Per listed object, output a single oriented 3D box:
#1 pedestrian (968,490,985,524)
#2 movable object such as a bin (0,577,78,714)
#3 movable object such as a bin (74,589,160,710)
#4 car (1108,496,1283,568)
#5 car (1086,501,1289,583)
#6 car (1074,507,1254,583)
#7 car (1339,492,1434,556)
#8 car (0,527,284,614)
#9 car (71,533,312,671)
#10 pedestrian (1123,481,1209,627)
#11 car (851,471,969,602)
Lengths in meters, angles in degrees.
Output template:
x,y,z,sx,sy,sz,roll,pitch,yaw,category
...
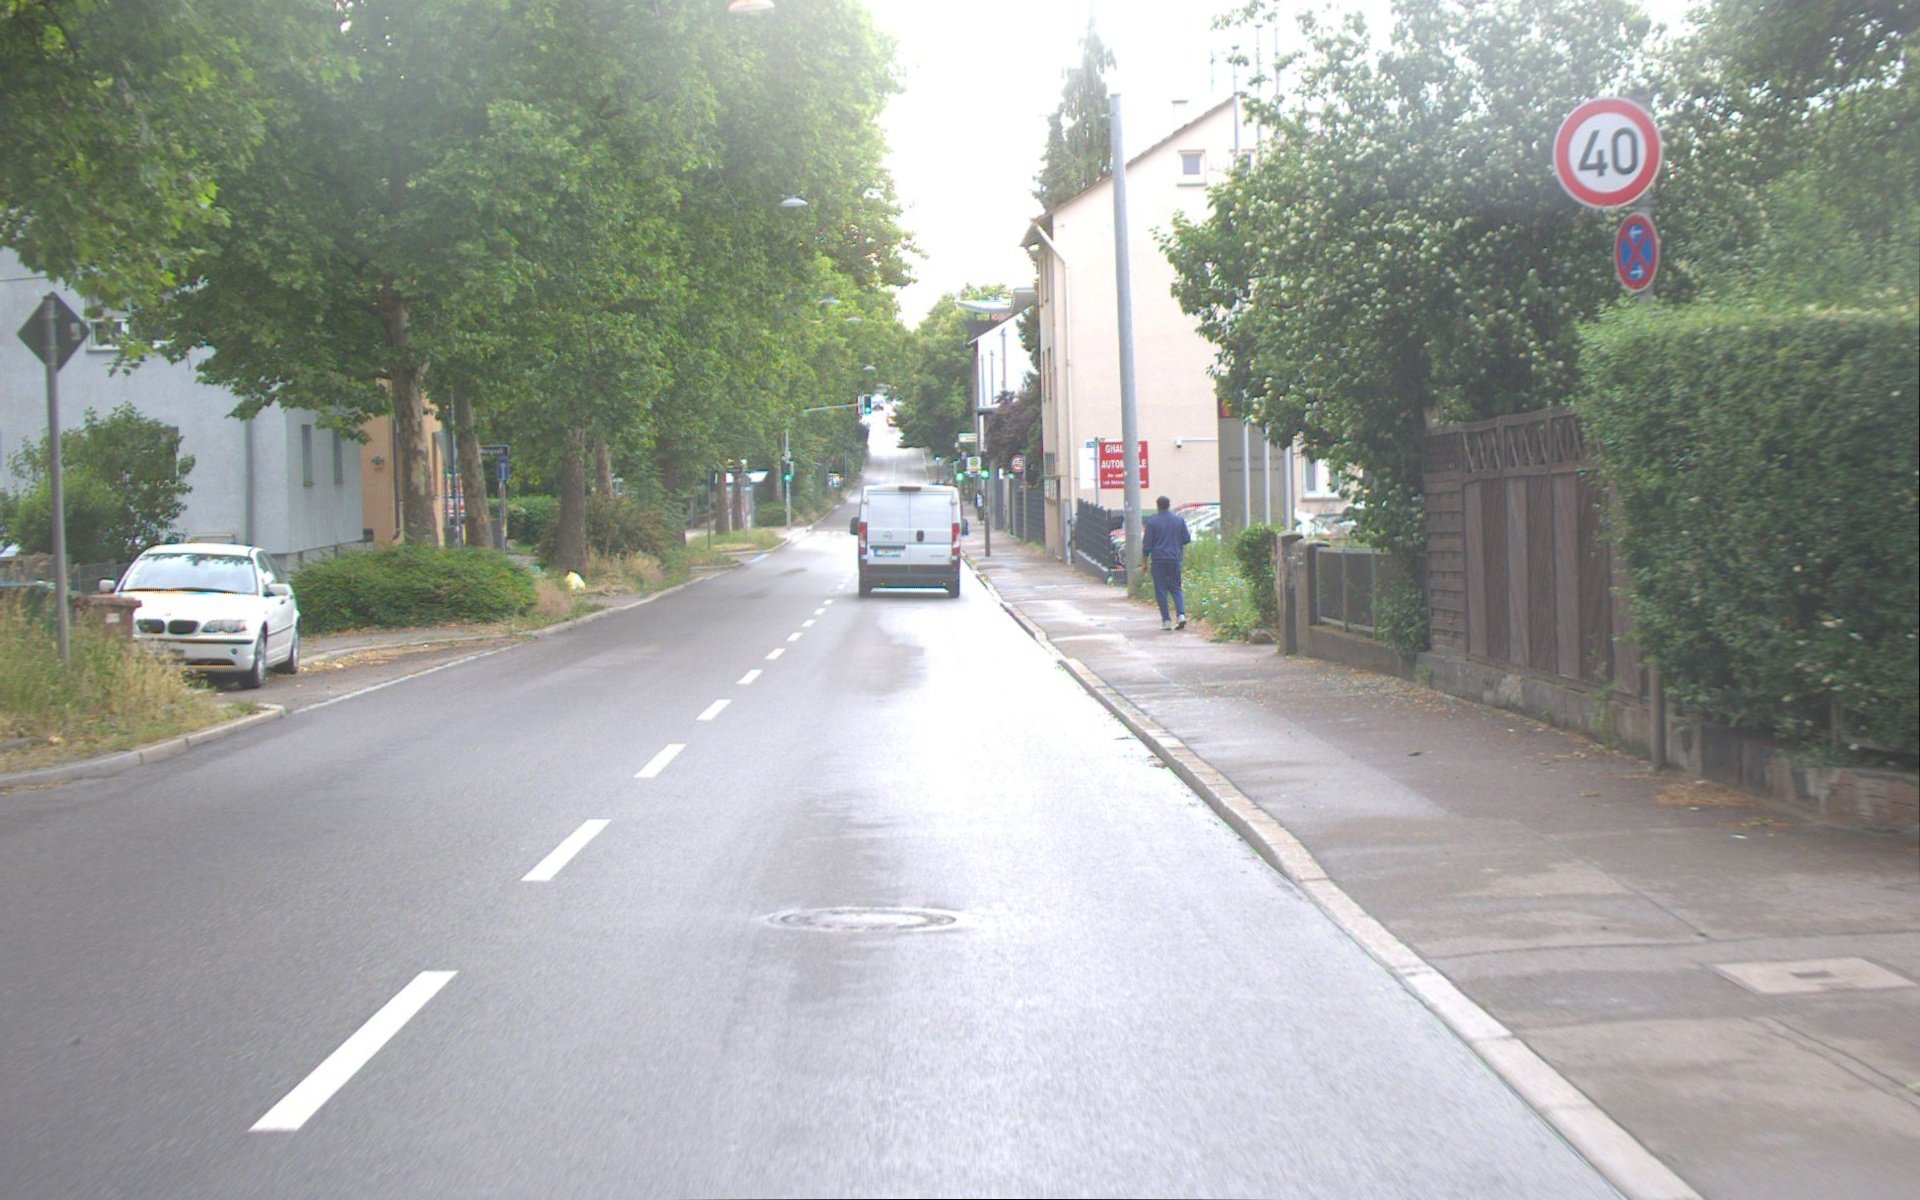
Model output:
x,y,z,sx,sy,sz,roll,pitch,yaw,category
0.826,-4.667,172.721,0.742,1.698,0.902,0,1,-6,pedestrian
-7.335,0.353,27.097,0.534,1.054,0.762,-2,1,-1,movable object such as a bin
-6.663,0.389,27.187,0.512,0.924,0.581,-2,1,-1,movable object such as a bin
5.874,-1.688,86.039,4.228,1.730,1.870,1,1,-1,car
4.968,-1.269,75.609,4.302,1.762,2.000,0,1,-1,car
4.777,-1.296,80.912,4.066,1.730,1.870,1,1,-1,car
10.529,-1.874,85.007,1.808,1.525,3.628,1,1,-1,car
-14.435,-0.523,60.624,4.662,1.471,1.870,1,1,-1,car
-7.869,-0.025,35.562,1.755,1.321,4.540,0,1,-4,car
2.713,-0.608,45.388,1.043,1.891,0.901,-1,0,-1,pedestrian
-1.005,-1.260,69.386,2.282,2.544,4.000,-1,1,-1,car
